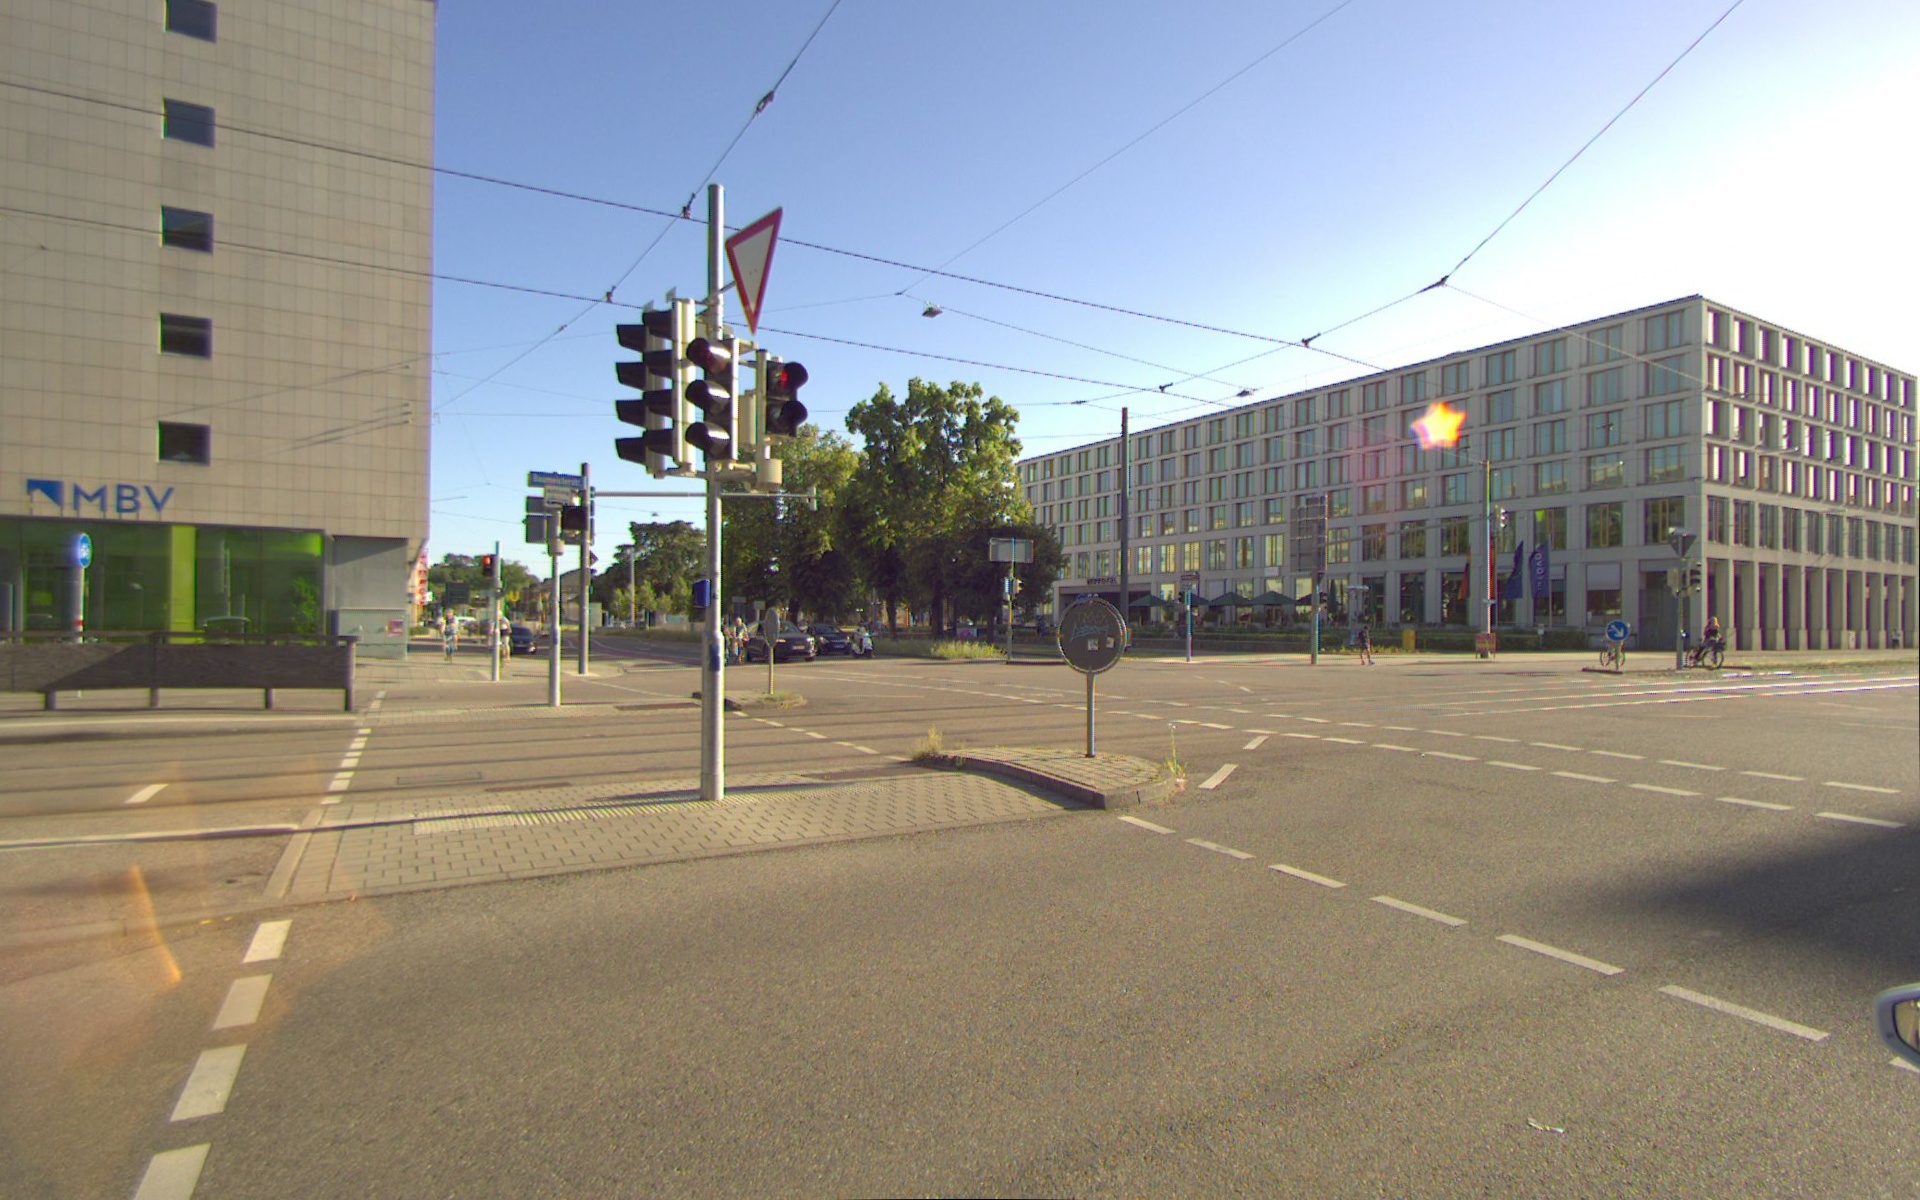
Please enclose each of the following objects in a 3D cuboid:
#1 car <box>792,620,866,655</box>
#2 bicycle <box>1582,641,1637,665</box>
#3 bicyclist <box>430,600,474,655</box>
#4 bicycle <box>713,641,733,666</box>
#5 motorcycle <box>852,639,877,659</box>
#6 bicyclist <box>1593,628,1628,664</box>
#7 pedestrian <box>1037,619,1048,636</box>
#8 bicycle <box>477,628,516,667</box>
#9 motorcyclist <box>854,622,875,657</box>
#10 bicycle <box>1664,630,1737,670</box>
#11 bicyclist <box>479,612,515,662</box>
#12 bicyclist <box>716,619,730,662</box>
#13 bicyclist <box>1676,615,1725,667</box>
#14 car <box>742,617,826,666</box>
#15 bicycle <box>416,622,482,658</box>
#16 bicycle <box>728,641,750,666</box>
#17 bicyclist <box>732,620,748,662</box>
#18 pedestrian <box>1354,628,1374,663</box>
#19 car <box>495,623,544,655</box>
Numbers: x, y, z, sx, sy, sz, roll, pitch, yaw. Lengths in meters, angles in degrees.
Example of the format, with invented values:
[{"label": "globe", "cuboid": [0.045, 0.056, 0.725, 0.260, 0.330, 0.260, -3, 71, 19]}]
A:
[{"label": "car", "cuboid": [-6.289, 1.741, 47.702, 1.976, 1.594, 4.514, 1, -2, -29]}, {"label": "bicycle", "cuboid": [25.144, 2.040, 38.861, 2.308, 0.862, 0.836, 1, -2, -30]}, {"label": "bicyclist", "cuboid": [-16.469, 0.881, 32.567, 0.749, 1.713, 0.947, 3, 0, 17]}, {"label": "bicycle", "cuboid": [-8.956, 2.017, 37.897, 0.348, 0.885, 1.374, 1, -1, -29]}, {"label": "motorcycle", "cuboid": [-4.063, 2.066, 42.593, 0.616, 0.806, 1.299, 1, -2, -29]}, {"label": "bicyclist", "cuboid": [25.169, 1.778, 38.875, 0.961, 1.380, 0.820, 1, -1, -30]}, {"label": "pedestrian", "cuboid": [7.765, 2.583, 94.638, 0.776, 1.546, 0.756, 1, -1, -29]}, {"label": "bicycle", "cuboid": [-14.885, 1.513, 32.215, 0.874, 1.081, 2.165, 3, 0, -30]}, {"label": "motorcyclist", "cuboid": [-4.049, 1.675, 42.578, 0.600, 1.465, 0.731, 1, -1, -30]}, {"label": "bicycle", "cuboid": [23.874, 1.599, 32.432, 0.830, 1.247, 2.014, 0, -1, -1]}, {"label": "bicyclist", "cuboid": [-14.738, 1.167, 31.975, 0.878, 1.526, 0.900, 4, 0, -30]}, {"label": "bicyclist", "cuboid": [-8.951, 1.521, 37.904, 0.354, 1.596, 0.531, 1, -1, -30]}, {"label": "bicyclist", "cuboid": [23.873, 1.306, 32.396, 0.835, 1.640, 0.973, 0, -1, 0]}, {"label": "car", "cuboid": [-7.222, 1.629, 40.933, 1.976, 1.595, 4.513, -3, 3, -29]}, {"label": "bicycle", "cuboid": [-16.511, 1.293, 32.526, 0.740, 1.081, 1.908, 3, 0, 17]}, {"label": "bicycle", "cuboid": [-8.455, 2.037, 38.432, 0.447, 0.885, 1.374, 1, -1, -29]}, {"label": "bicyclist", "cuboid": [-8.418, 1.560, 38.386, 0.448, 1.596, 0.531, 1, -1, -30]}, {"label": "pedestrian", "cuboid": [17.930, 1.998, 44.579, 0.617, 1.546, 0.597, 1, -1, -34]}, {"label": "car", "cuboid": [-23.473, 2.047, 53.426, 1.976, 1.594, 4.514, 1, -2, -29]}]
